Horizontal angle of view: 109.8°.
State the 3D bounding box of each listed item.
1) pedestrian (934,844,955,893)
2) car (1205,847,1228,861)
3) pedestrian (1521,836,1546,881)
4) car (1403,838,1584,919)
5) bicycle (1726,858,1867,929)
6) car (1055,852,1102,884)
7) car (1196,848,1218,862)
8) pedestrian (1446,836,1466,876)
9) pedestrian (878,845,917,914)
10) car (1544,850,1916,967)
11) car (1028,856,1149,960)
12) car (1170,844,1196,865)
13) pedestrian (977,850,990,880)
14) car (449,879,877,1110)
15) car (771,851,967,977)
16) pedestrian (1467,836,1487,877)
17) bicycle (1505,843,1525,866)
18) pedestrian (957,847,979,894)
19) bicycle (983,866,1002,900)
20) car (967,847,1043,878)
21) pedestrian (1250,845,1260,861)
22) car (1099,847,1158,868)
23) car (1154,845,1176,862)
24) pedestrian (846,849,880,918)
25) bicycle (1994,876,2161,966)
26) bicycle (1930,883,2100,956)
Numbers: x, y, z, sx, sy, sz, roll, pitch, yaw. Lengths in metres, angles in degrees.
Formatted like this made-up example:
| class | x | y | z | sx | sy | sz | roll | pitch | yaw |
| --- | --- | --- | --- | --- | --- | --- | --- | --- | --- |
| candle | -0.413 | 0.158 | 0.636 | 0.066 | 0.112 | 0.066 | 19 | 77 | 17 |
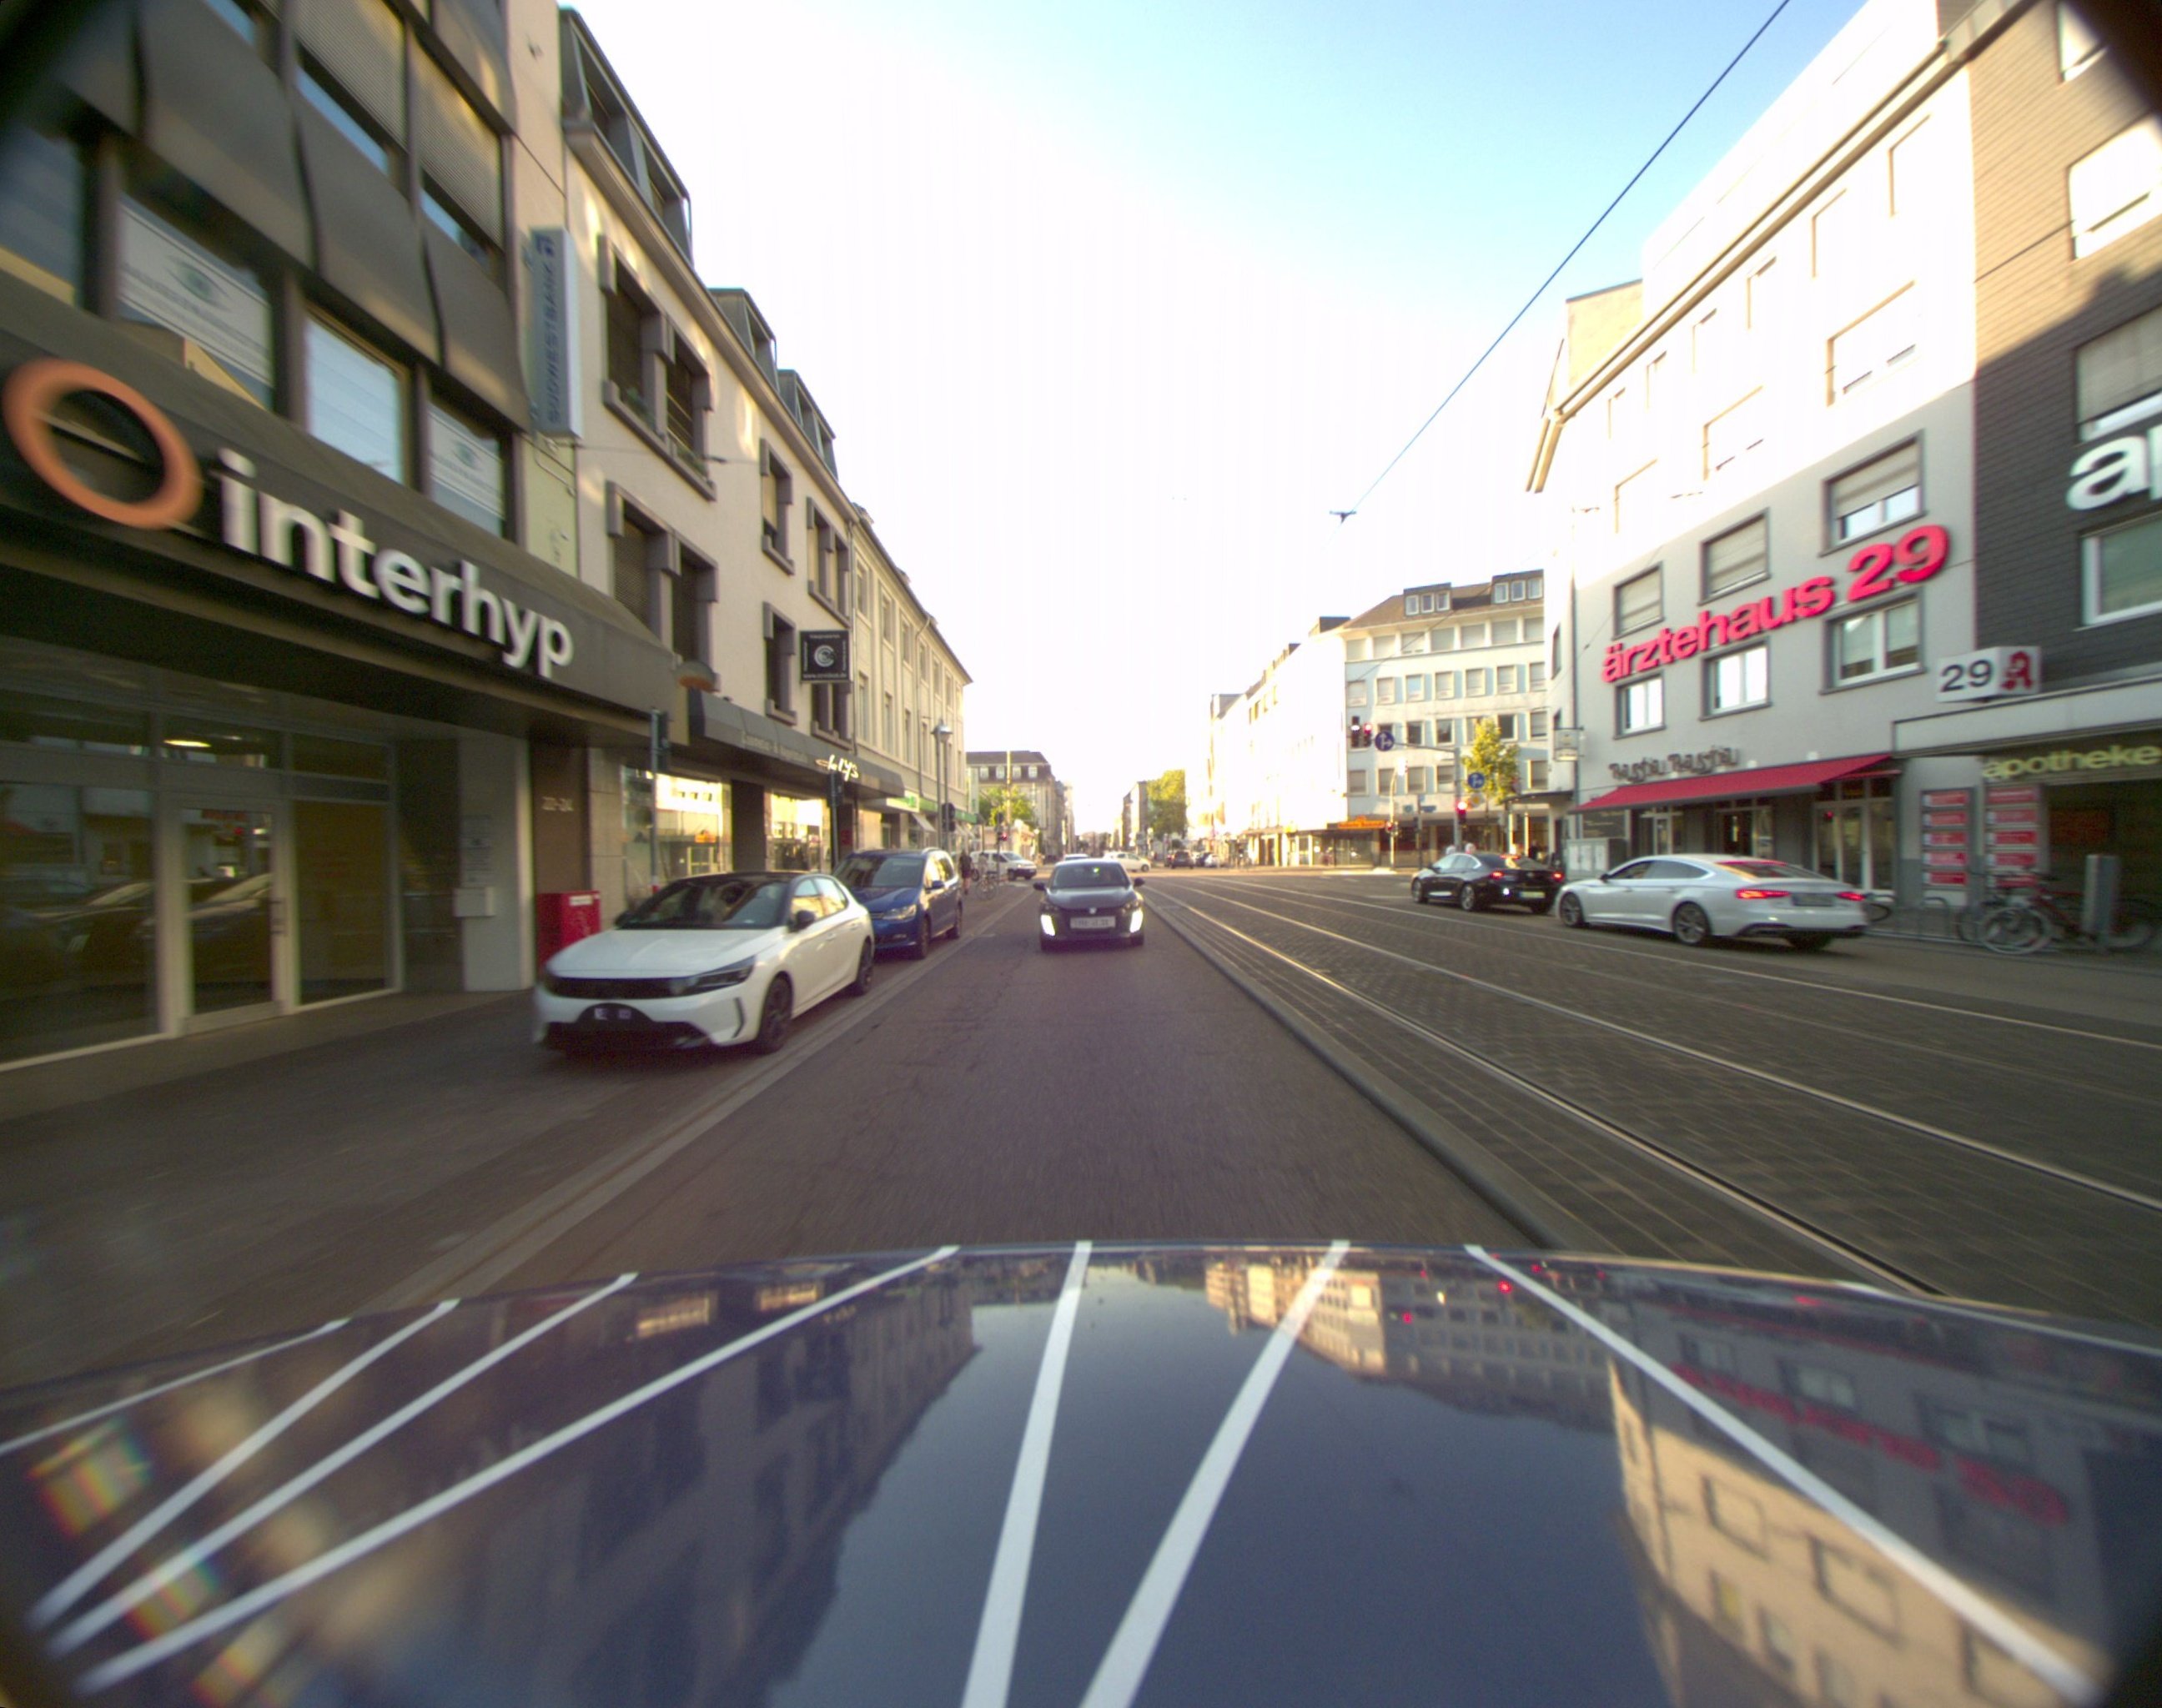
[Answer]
| class | x | y | z | sx | sy | sz | roll | pitch | yaw |
| --- | --- | --- | --- | --- | --- | --- | --- | --- | --- |
| pedestrian | -5.358 | 0.564 | 29.798 | 0.663 | 1.917 | 0.879 | 0 | 1 | -1 |
| car | 13.144 | 0.042 | 73.744 | 1.636 | 1.246 | 3.389 | -4 | 0 | 1 |
| pedestrian | 16.992 | 0.165 | 28.526 | 0.712 | 1.667 | 0.704 | -1 | 1 | 25 |
| car | 9.956 | 0.507 | 18.857 | 1.998 | 1.717 | 4.727 | 1 | 1 | 2 |
| bicycle | 13.666 | 0.746 | 14.543 | 2.117 | 1.217 | 0.553 | -3 | 1 | 1 |
| car | -0.184 | 0.663 | 37.875 | 1.828 | 1.463 | 3.982 | -1 | 1 | -8 |
| car | 12.989 | 0.127 | 78.265 | 1.636 | 1.346 | 3.389 | -4 | 0 | 1 |
| pedestrian | 16.583 | 0.075 | 33.596 | 0.637 | 1.734 | 0.669 | -1 | 1 | 12 |
| pedestrian | -4.836 | 0.655 | 20.058 | 0.768 | 1.795 | 0.928 | 0 | 1 | 2 |
| car | 9.872 | 0.700 | 12.235 | 1.998 | 1.444 | 4.655 | 1 | 1 | 0 |
| car | 0.188 | 0.826 | 13.447 | 1.750 | 1.434 | 3.906 | -3 | 0 | 2 |
| car | 8.978 | 0.028 | 67.277 | 1.827 | 1.688 | 4.259 | -1 | 0 | 1 |
| pedestrian | -5.610 | 0.621 | 43.808 | 0.694 | 1.732 | 0.653 | -1 | 1 | -6 |
| car | -3.351 | 1.018 | 7.089 | 1.800 | 1.424 | 3.887 | 0 | 0 | 1 |
| car | -3.311 | 0.830 | 12.908 | 1.998 | 1.717 | 4.576 | 0 | 1 | 1 |
| pedestrian | 17.400 | 0.124 | 33.423 | 0.637 | 1.768 | 0.601 | -1 | 1 | 14 |
| bicycle | 25.761 | 0.003 | 45.119 | 0.638 | 1.246 | 2.377 | 0 | 2 | 20 |
| pedestrian | -4.448 | 0.654 | 29.978 | 0.739 | 1.818 | 0.850 | 0 | 1 | -1 |
| bicycle | -3.077 | 0.993 | 26.515 | 0.535 | 1.140 | 1.490 | -1 | 1 | -1 |
| car | -4.654 | 0.501 | 46.320 | 4.273 | 1.787 | 1.832 | -1 | 1 | 29 |
| pedestrian | 16.650 | -0.131 | 72.713 | 0.544 | 1.463 | 0.624 | -5 | 1 | -15 |
| car | 3.527 | 0.258 | 56.072 | 3.990 | 1.463 | 1.716 | -2 | 1 | -27 |
| car | 8.754 | -0.065 | 79.672 | 1.805 | 1.688 | 4.568 | -1 | 0 | 0 |
| pedestrian | -5.555 | 0.745 | 19.408 | 0.651 | 1.708 | 0.678 | 1 | 1 | 1 |
| bicycle | 13.267 | 0.869 | 10.000 | 1.835 | 1.041 | 0.489 | -4 | -1 | 1 |
| bicycle | 13.343 | 0.921 | 10.875 | 1.809 | 0.907 | 0.456 | -4 | -1 | 1 |
